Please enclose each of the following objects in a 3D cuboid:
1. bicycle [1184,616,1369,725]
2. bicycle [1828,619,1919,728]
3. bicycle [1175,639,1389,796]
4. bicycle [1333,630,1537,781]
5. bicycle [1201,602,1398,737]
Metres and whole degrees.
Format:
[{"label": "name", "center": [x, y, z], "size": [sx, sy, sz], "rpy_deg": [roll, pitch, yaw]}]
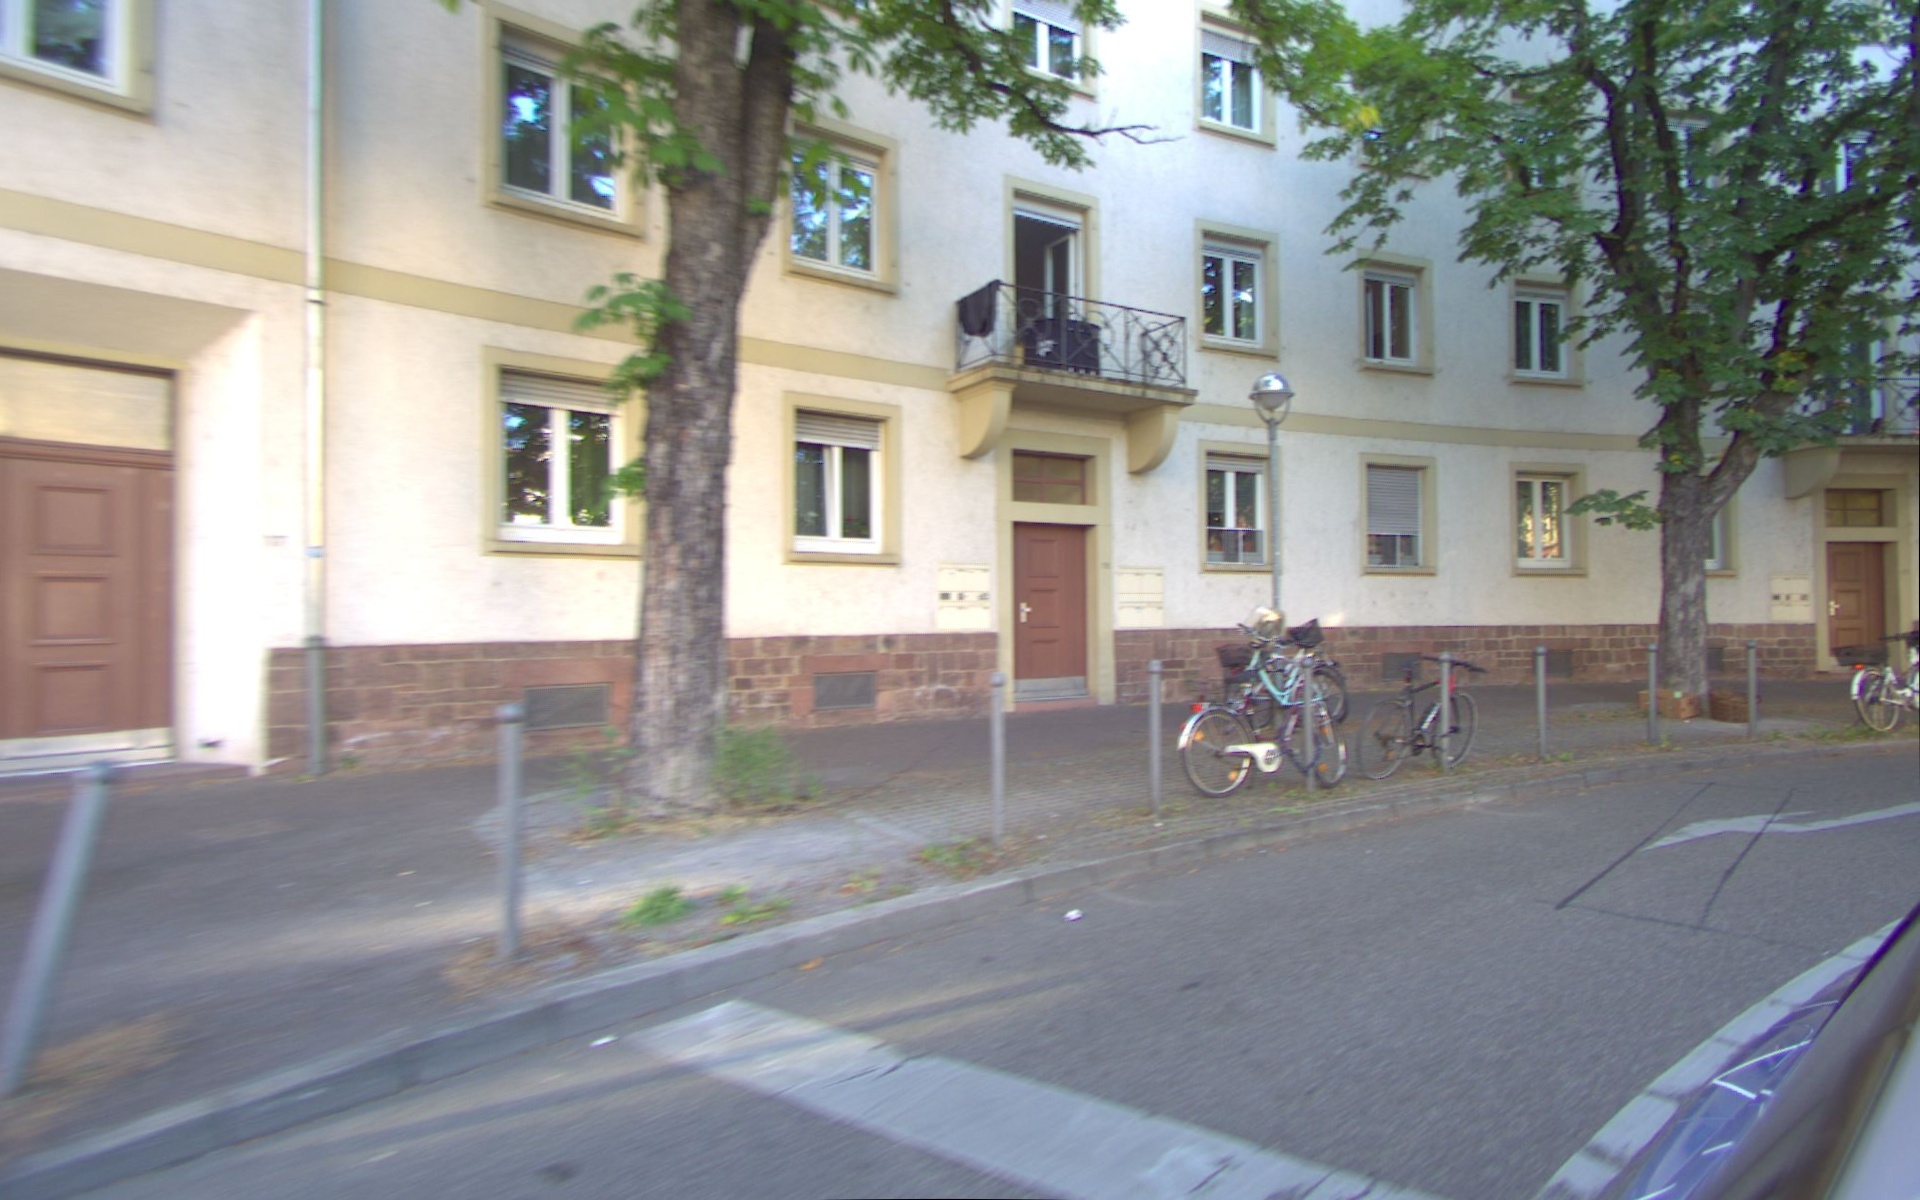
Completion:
[{"label": "bicycle", "center": [3.532, 0.752, 11.280], "size": [1.925, 1.121, 0.670], "rpy_deg": [0, -1, -19]}, {"label": "bicycle", "center": [10.583, 0.783, 11.258], "size": [1.932, 1.109, 0.515], "rpy_deg": [-1, 1, -20]}, {"label": "bicycle", "center": [2.467, 0.861, 7.734], "size": [1.601, 1.077, 0.483], "rpy_deg": [1, 1, -22]}, {"label": "bicycle", "center": [3.971, 0.837, 8.440], "size": [1.704, 1.121, 0.529], "rpy_deg": [0, 1, -24]}, {"label": "bicycle", "center": [3.549, 0.680, 10.568], "size": [1.925, 1.293, 0.721], "rpy_deg": [0, 0, -20]}]
